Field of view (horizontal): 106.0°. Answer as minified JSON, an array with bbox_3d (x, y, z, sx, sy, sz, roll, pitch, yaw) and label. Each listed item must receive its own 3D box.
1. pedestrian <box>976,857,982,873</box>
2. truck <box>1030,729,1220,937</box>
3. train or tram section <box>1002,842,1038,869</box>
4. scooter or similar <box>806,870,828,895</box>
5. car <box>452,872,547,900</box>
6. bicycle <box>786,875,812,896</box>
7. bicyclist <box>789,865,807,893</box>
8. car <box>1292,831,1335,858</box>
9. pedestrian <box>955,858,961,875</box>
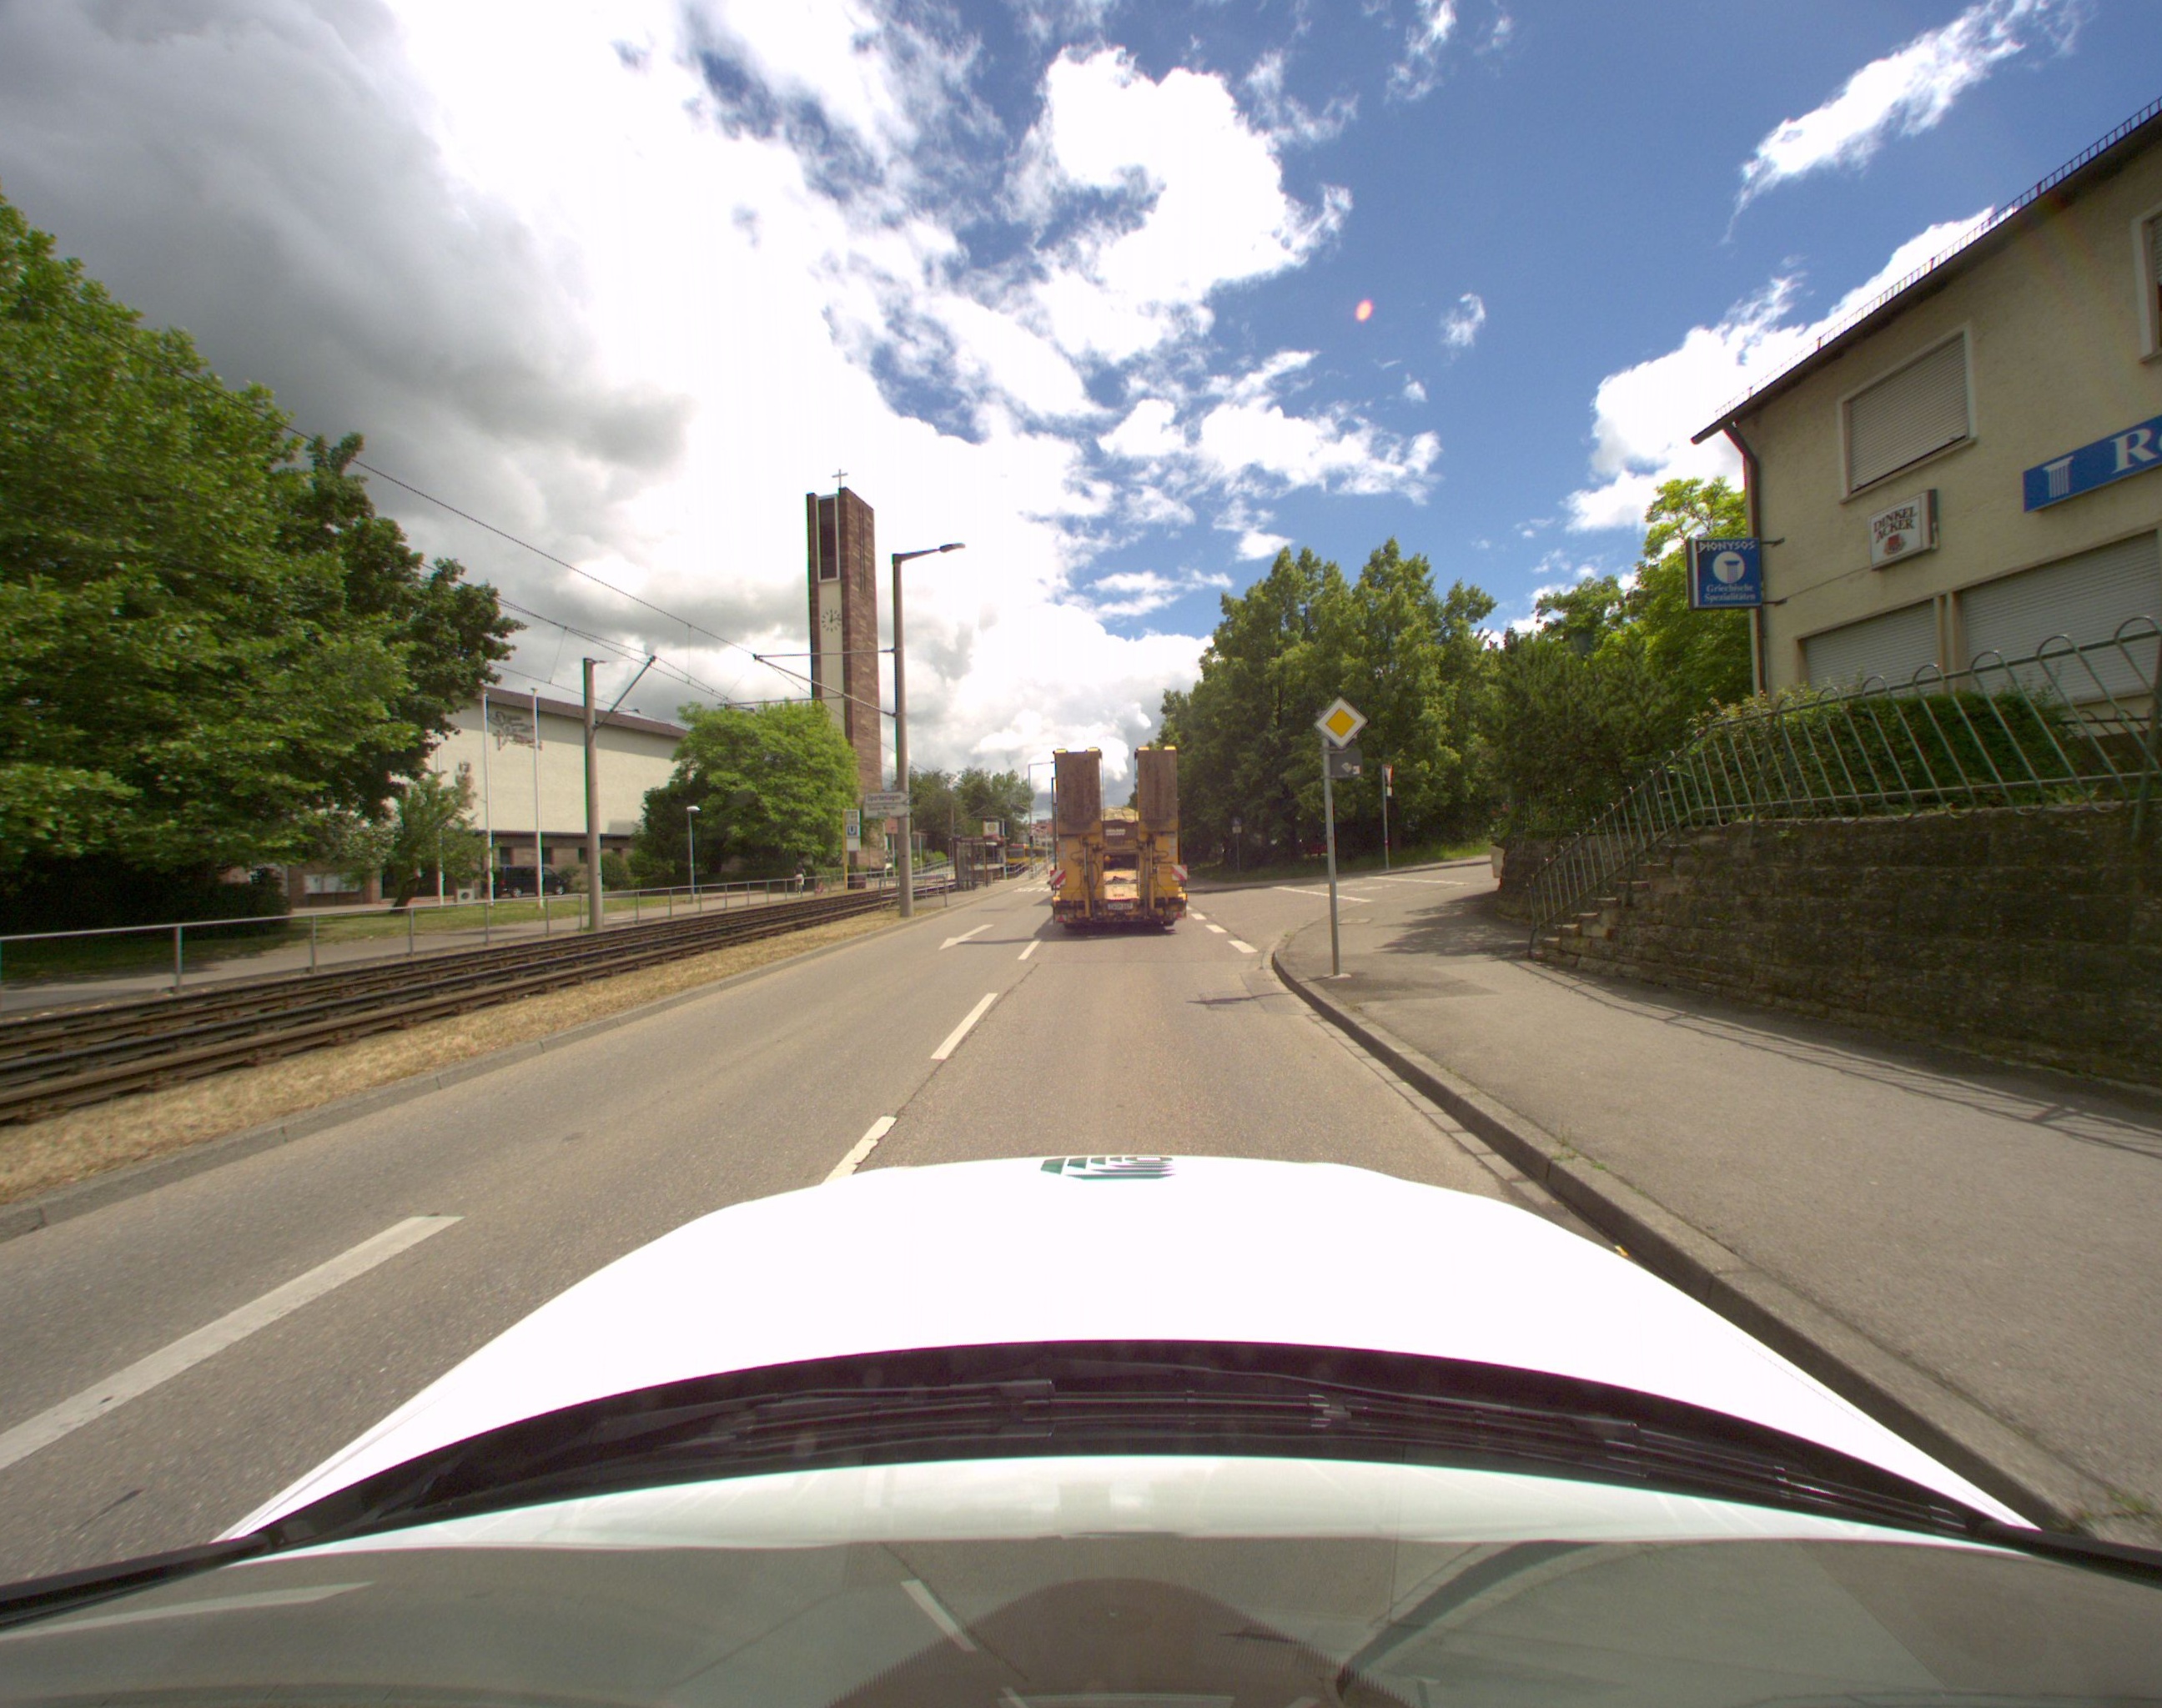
[{"bbox_3d":[-11.449,1.235,91.358,0.637,1.707,0.646,0,-1,2],"label":"pedestrian"},{"bbox_3d":[0.749,-0.346,21.907,3.392,3.732,13.733,-2,0,-1],"label":"truck"},{"bbox_3d":[-8.349,0.262,114.968,3.096,3.465,18.831,0,0,2],"label":"train or tram section"},{"bbox_3d":[-13.653,1.454,42.183,0.647,1.237,1.402,-1,0,2],"label":"scooter or similar"},{"bbox_3d":[-36.246,1.976,50.878,1.977,1.574,4.499,0,0,20],"label":"car"},{"bbox_3d":[-14.552,1.617,42.034,0.635,0.994,1.929,0,0,2],"label":"bicycle"},{"bbox_3d":[-14.550,1.284,41.838,0.631,1.429,0.790,0,-1,1],"label":"bicyclist"},{"bbox_3d":[14.625,-0.593,51.323,1.655,1.500,3.664,-5,-1,2],"label":"car"},{"bbox_3d":[-12.775,1.265,84.525,0.582,1.778,0.576,0,-1,1],"label":"pedestrian"}]
